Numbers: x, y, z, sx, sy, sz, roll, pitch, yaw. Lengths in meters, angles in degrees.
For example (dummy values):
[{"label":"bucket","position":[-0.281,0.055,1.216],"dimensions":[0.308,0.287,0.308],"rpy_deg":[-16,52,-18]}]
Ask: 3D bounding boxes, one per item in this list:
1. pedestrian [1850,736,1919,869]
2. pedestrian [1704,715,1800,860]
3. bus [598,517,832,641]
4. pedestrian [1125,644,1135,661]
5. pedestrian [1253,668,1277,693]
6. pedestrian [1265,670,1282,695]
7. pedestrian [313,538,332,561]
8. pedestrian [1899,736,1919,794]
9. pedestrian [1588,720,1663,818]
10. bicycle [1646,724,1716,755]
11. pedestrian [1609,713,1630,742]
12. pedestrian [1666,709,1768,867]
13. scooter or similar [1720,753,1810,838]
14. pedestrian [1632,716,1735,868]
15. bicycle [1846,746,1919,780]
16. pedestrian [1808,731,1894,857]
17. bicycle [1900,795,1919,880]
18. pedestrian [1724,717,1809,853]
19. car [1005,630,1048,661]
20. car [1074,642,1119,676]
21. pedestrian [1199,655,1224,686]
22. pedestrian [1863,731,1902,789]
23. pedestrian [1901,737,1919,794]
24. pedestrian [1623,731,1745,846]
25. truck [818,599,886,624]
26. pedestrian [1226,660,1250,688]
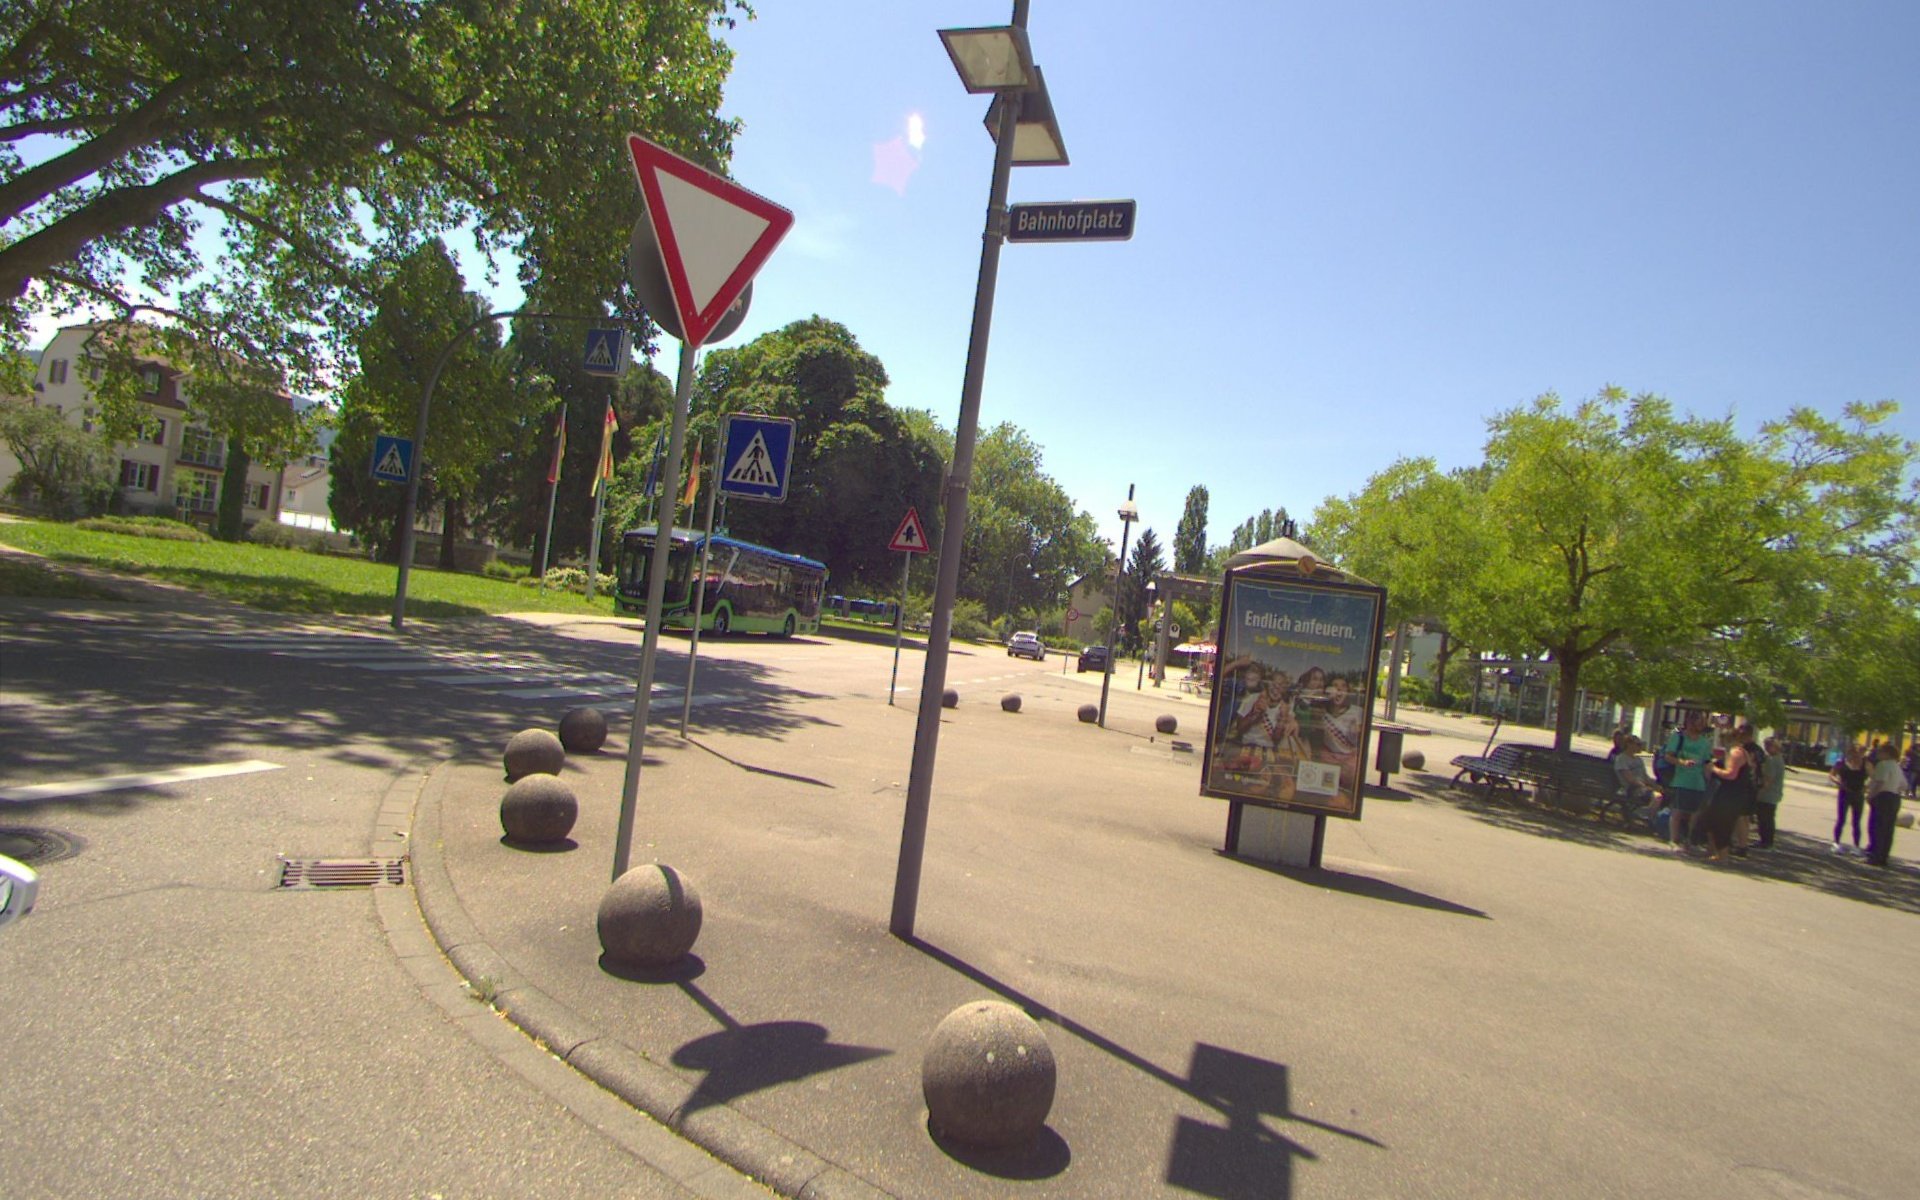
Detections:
[{"label":"pedestrian","position":[13.119,2.820,14.073],"dimensions":[0.608,1.705,0.591],"rpy_deg":[7,0,0]},{"label":"pedestrian","position":[10.426,2.453,13.264],"dimensions":[0.576,1.760,0.598],"rpy_deg":[7,0,-13]},{"label":"bus","position":[-8.208,-0.409,36.464],"dimensions":[2.764,3.321,12.436],"rpy_deg":[8,-1,12]},{"label":"pedestrian","position":[18.856,5.813,111.425],"dimensions":[0.628,1.667,0.748],"rpy_deg":[7,-2,40]},{"label":"pedestrian","position":[16.281,4.294,53.651],"dimensions":[0.883,1.175,0.685],"rpy_deg":[8,0,-22]},{"label":"pedestrian","position":[15.490,4.069,49.707],"dimensions":[0.675,1.175,0.895],"rpy_deg":[8,0,17]},{"label":"pedestrian","position":[-41.976,-3.317,66.248],"dimensions":[0.818,1.386,0.614],"rpy_deg":[10,-1,-28]},{"label":"pedestrian","position":[31.696,5.469,33.311],"dimensions":[0.621,1.831,0.595],"rpy_deg":[7,0,33]},{"label":"pedestrian","position":[10.362,2.631,15.681],"dimensions":[0.590,1.381,0.598],"rpy_deg":[7,0,-16]},{"label":"bicycle","position":[36.990,7.135,51.654],"dimensions":[2.743,1.015,0.812],"rpy_deg":[10,-1,10]},{"label":"pedestrian","position":[34.460,6.673,52.592],"dimensions":[0.615,1.411,0.677],"rpy_deg":[6,-1,12]},{"label":"pedestrian","position":[9.170,2.263,12.197],"dimensions":[0.618,1.760,0.546],"rpy_deg":[7,0,-13]},{"label":"scooter or similar","position":[12.738,3.090,15.924],"dimensions":[1.009,1.152,0.294],"rpy_deg":[8,0,5]},{"label":"pedestrian","position":[9.200,2.431,12.804],"dimensions":[0.683,1.785,0.583],"rpy_deg":[7,0,-15]},{"label":"bicycle","position":[43.768,7.720,47.482],"dimensions":[2.743,1.015,0.968],"rpy_deg":[10,-1,10]},{"label":"pedestrian","position":[13.136,2.845,14.847],"dimensions":[0.545,1.705,0.587],"rpy_deg":[7,0,0]},{"label":"bicycle","position":[12.755,3.129,12.545],"dimensions":[0.413,1.072,1.951],"rpy_deg":[7,-1,10]},{"label":"pedestrian","position":[11.248,2.572,14.043],"dimensions":[0.504,1.760,0.569],"rpy_deg":[7,0,-17]},{"label":"car","position":[4.277,2.900,64.110],"dimensions":[1.951,1.646,4.782],"rpy_deg":[7,-1,11]},{"label":"car","position":[7.104,3.039,51.922],"dimensions":[1.896,1.477,4.730],"rpy_deg":[5,-2,11]},{"label":"pedestrian","position":[13.217,3.696,52.815],"dimensions":[0.884,1.435,0.684],"rpy_deg":[8,0,-25]},{"label":"pedestrian","position":[31.155,5.387,33.983],"dimensions":[0.679,1.831,0.630],"rpy_deg":[7,0,34]},{"label":"pedestrian","position":[32.140,5.566,33.772],"dimensions":[0.542,1.831,0.497],"rpy_deg":[7,0,33]},{"label":"pedestrian","position":[10.382,2.691,14.456],"dimensions":[0.899,1.402,0.940],"rpy_deg":[8,0,-17]},{"label":"truck","position":[-15.832,1.643,146.977],"dimensions":[11.196,2.377,2.277],"rpy_deg":[7,-1,38]},{"label":"pedestrian","position":[14.927,3.982,54.061],"dimensions":[0.883,1.328,0.685],"rpy_deg":[8,0,-22]}]
